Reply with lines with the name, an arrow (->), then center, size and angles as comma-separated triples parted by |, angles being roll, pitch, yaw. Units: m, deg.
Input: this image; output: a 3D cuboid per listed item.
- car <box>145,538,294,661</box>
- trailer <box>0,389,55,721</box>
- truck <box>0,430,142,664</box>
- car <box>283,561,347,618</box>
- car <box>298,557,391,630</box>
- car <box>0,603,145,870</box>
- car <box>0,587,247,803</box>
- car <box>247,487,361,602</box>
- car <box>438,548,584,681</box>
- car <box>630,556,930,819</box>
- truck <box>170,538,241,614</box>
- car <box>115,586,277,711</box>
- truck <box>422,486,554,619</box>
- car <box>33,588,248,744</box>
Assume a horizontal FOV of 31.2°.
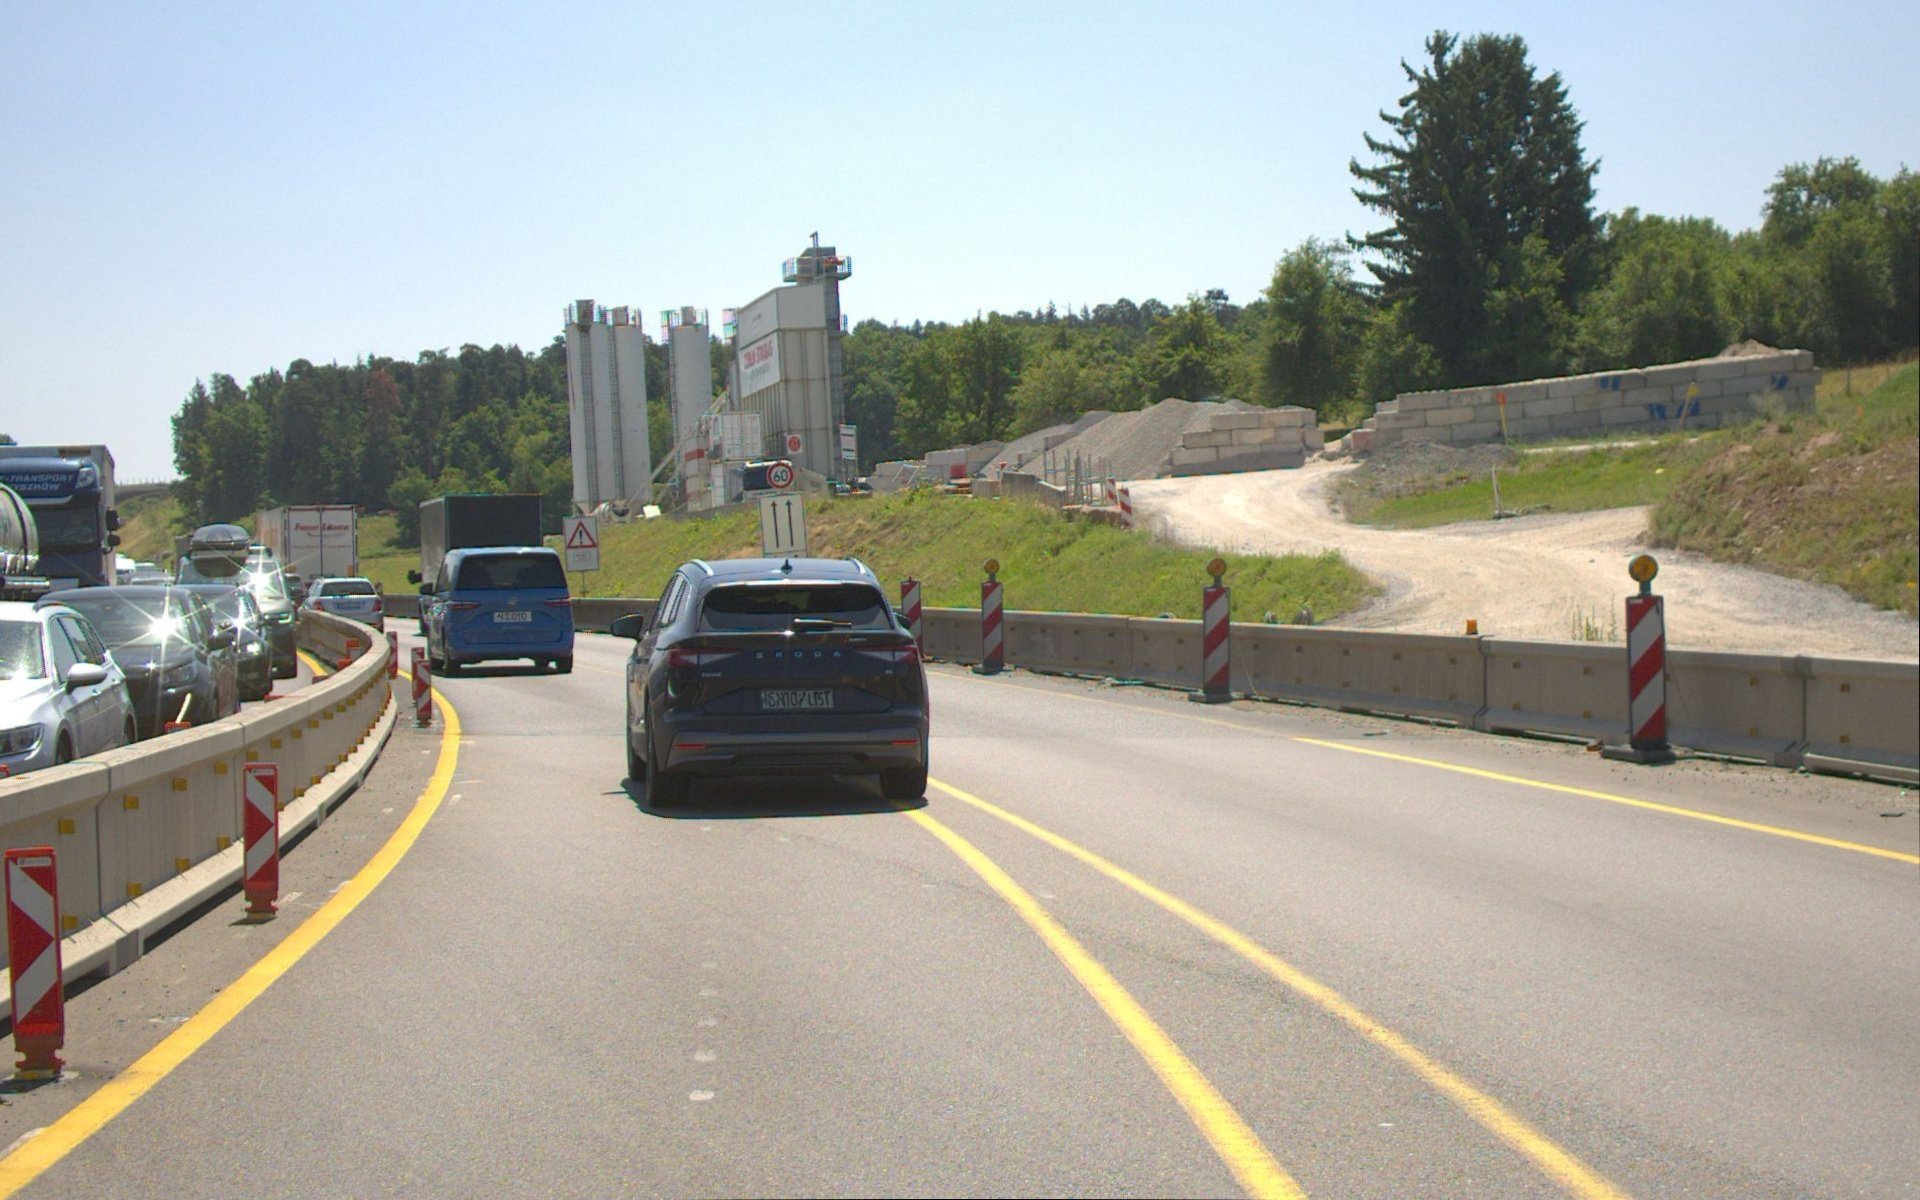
car -> -11.470, -0.053, 53.520 | 2.045, 1.771, 5.067 | -1, 1, -10
trailer -> -13.111, -0.542, 42.569 | 2.704, 3.964, 11.247 | -2, 1, -10
truck -> -17.762, -1.011, 67.012 | 2.772, 4.123, 10.873 | -2, 1, -10
car -> -19.598, -0.340, 104.463 | 1.820, 1.638, 3.866 | -2, 1, -11
car -> -14.726, -0.188, 82.223 | 2.045, 1.521, 5.067 | -3, 2, -10
car -> -6.224, 0.785, 21.403 | 1.677, 1.439, 4.554 | -2, 1, -7
car -> -6.835, 0.710, 28.028 | 1.677, 1.539, 4.119 | -1, 1, -7
car -> -24.443, -2.062, 127.665 | 3.435, 4.087, 9.200 | 1, 1, -15
car -> -6.804, 0.175, 51.756 | 1.993, 1.837, 4.001 | -2, 1, -9
car -> -1.296, 0.521, 23.495 | 1.842, 1.576, 4.001 | -1, 1, -5
truck -> -43.632, -1.448, 198.656 | 3.474, 4.206, 10.380 | -1, 1, -15
car -> -9.963, 0.587, 45.097 | 1.735, 1.441, 4.798 | -1, 1, -9
truck -> -11.402, -1.144, 82.691 | 2.672, 2.935, 5.622 | -4, 1, -11
car -> -8.377, 0.626, 35.465 | 1.735, 1.411, 4.798 | -2, 1, -9
